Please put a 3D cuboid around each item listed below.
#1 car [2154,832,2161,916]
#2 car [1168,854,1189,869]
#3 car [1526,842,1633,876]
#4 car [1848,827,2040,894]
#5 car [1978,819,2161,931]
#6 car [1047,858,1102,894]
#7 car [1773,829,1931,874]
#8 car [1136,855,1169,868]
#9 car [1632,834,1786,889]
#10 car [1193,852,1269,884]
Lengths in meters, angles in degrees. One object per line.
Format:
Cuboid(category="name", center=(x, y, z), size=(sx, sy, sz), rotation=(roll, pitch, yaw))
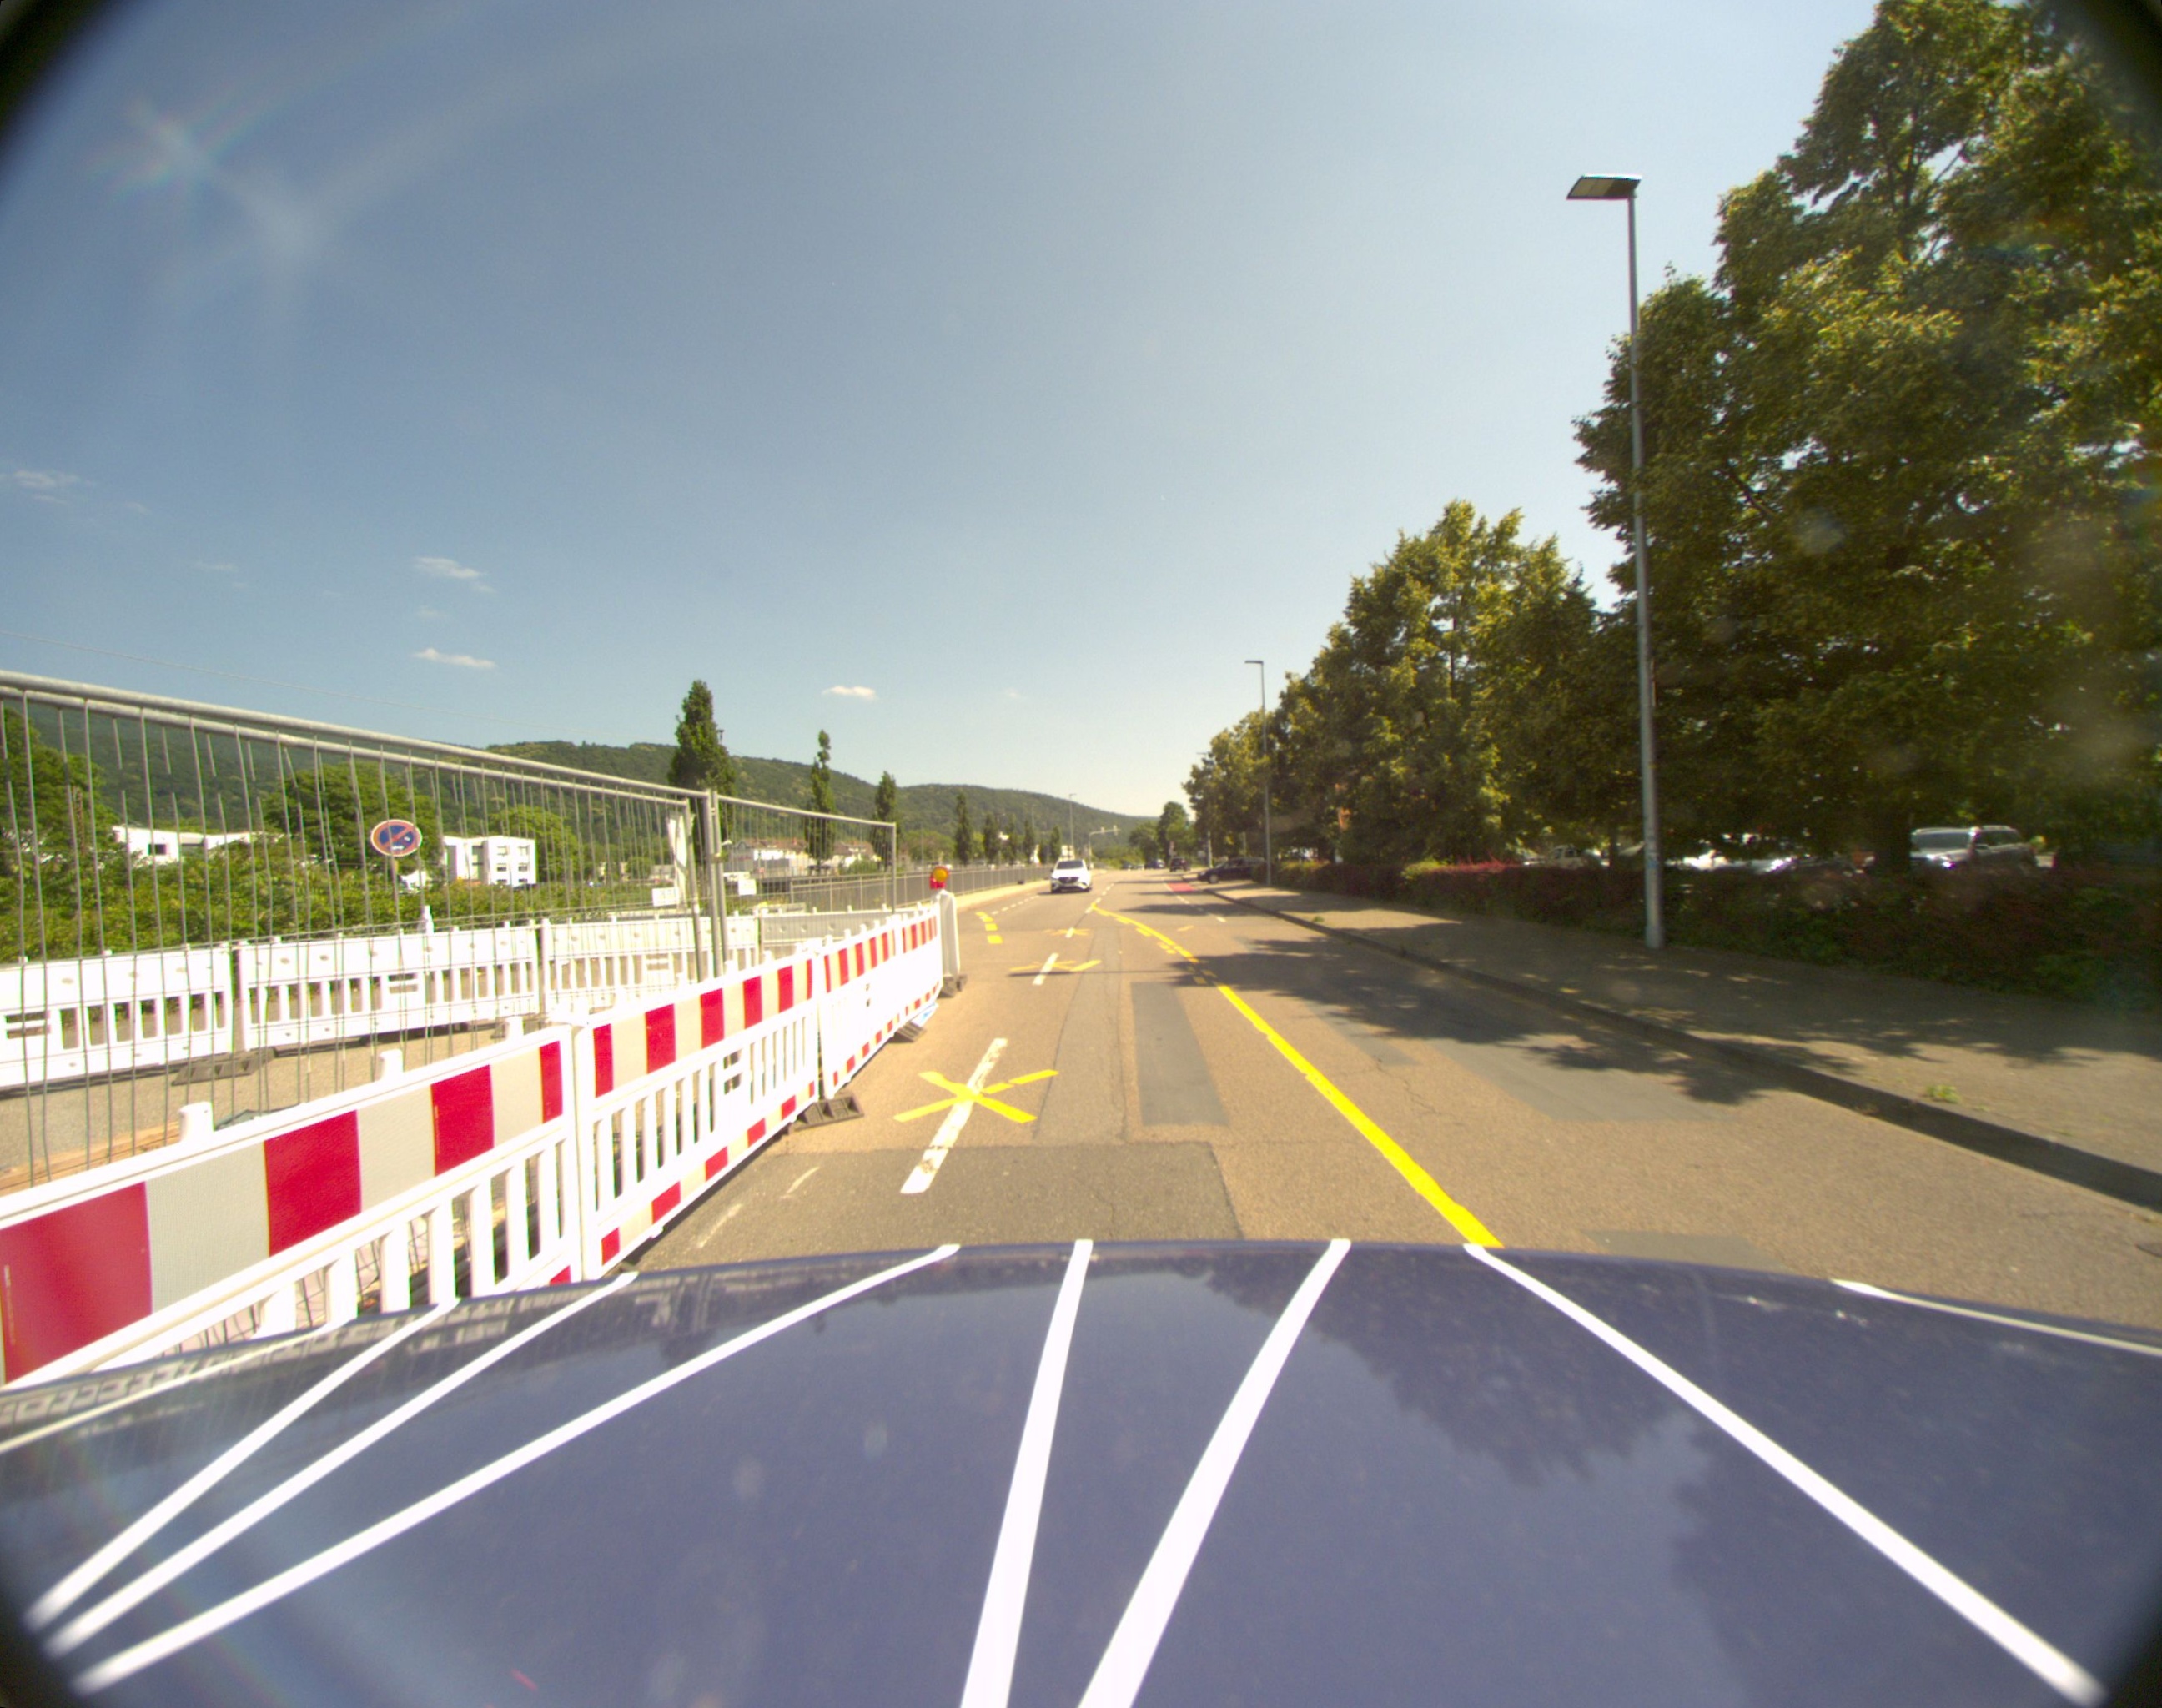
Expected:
Cuboid(category="car", center=(19.620, 0.332, 11.048), size=(1.861, 1.444, 4.367), rotation=(0, 0, -1))
Cuboid(category="car", center=(11.058, 0.821, 85.765), size=(1.997, 1.635, 4.532), rotation=(-1, 0, 11))
Cuboid(category="car", center=(24.428, 0.251, 37.422), size=(1.922, 1.543, 4.137), rotation=(-2, 0, -14))
Cuboid(category="car", center=(24.392, 0.157, 21.511), size=(4.369, 1.676, 1.860), rotation=(-2, 0, -16))
Cuboid(category="car", center=(17.104, 0.309, 11.515), size=(1.861, 1.676, 4.367), rotation=(0, 0, -1))
Cuboid(category="car", center=(-0.261, 1.089, 39.798), size=(1.997, 1.635, 5.034), rotation=(-3, 0, 8))
Cuboid(category="car", center=(32.737, -0.068, 32.472), size=(1.863, 1.676, 4.363), rotation=(-4, 0, -12))
Cuboid(category="car", center=(10.021, 1.060, 106.251), size=(2.004, 1.635, 4.516), rotation=(-1, 0, -38))
Cuboid(category="car", center=(21.412, 0.229, 25.940), size=(4.314, 1.676, 1.860), rotation=(-2, 0, -15))
Cuboid(category="car", center=(8.564, 0.788, 43.643), size=(3.995, 1.455, 1.881), rotation=(-4, 0, 6))
